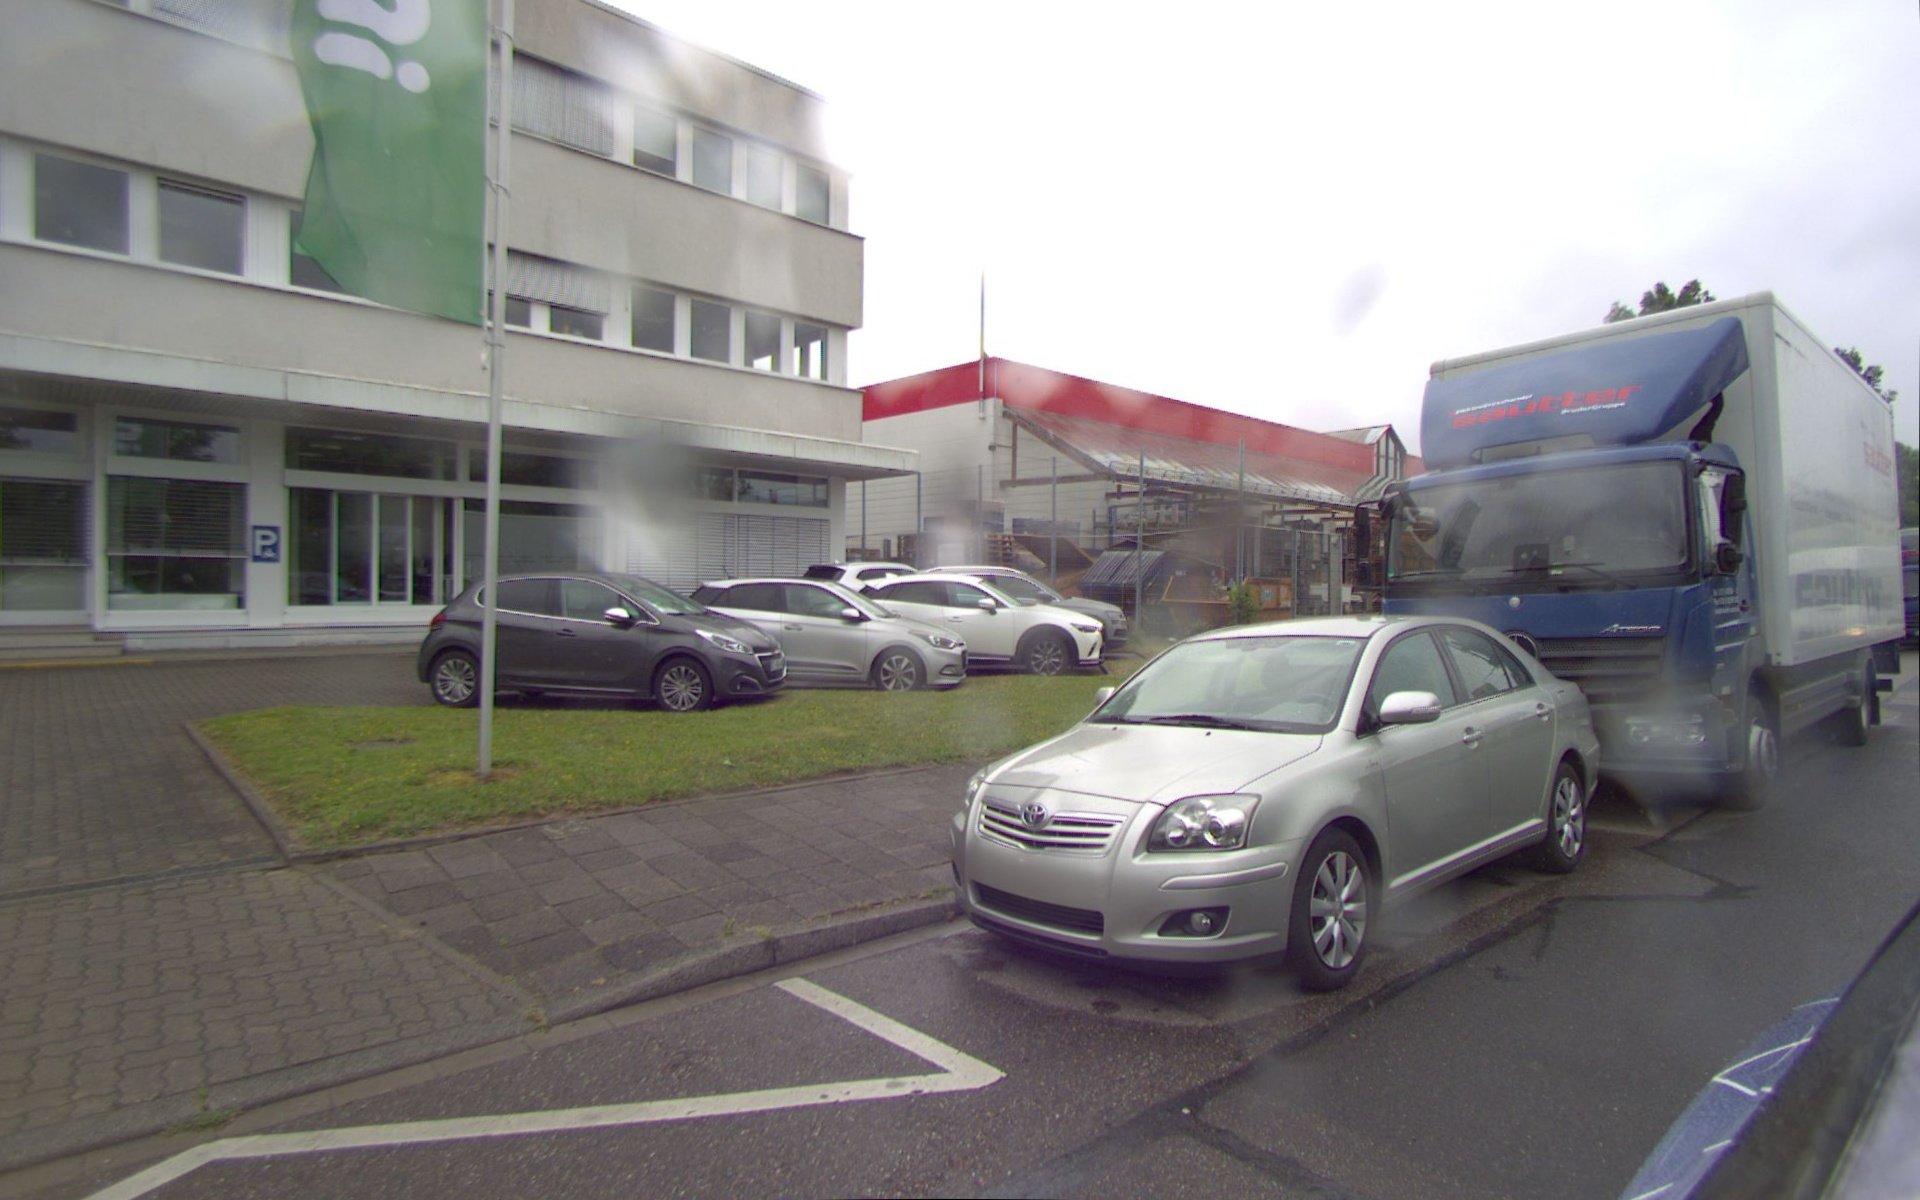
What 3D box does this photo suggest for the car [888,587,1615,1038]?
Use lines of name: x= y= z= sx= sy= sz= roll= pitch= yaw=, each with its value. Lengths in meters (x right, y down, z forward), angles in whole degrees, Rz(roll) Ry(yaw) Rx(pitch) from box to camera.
car: x=1.842 y=0.674 z=5.439 sx=4.271 sy=1.459 sz=1.800 roll=0 pitch=1 yaw=-42

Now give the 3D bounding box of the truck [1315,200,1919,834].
truck: x=7.230 y=-0.512 z=10.195 sx=9.139 sy=3.838 sz=2.744 roll=0 pitch=-2 yaw=-42

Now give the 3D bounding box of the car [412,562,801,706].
car: x=-3.782 y=0.319 z=11.189 sx=3.702 sy=1.410 sz=1.704 roll=1 pitch=1 yaw=6

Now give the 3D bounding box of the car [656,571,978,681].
car: x=-1.759 y=0.299 z=13.279 sx=3.928 sy=1.302 sz=1.705 roll=1 pitch=1 yaw=4

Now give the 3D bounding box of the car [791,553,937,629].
car: x=-1.944 y=-0.194 z=20.810 sx=2.700 sy=1.443 sz=1.400 roll=0 pitch=1 yaw=-42

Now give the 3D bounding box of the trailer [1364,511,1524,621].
trailer: x=21.029 y=-1.373 z=43.662 sx=9.311 sy=4.295 sz=2.970 roll=0 pitch=1 yaw=-43

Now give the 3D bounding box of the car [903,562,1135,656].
car: x=1.034 y=0.123 z=18.109 sx=3.928 sy=1.546 sz=1.872 roll=1 pitch=1 yaw=4

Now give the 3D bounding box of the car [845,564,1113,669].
car: x=0.306 y=0.218 z=15.745 sx=3.928 sy=1.488 sz=1.774 roll=1 pitch=1 yaw=4

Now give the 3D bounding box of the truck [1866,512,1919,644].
truck: x=30.444 y=-0.661 z=31.318 sx=7.872 sy=3.740 sz=2.674 roll=0 pitch=-2 yaw=-42
